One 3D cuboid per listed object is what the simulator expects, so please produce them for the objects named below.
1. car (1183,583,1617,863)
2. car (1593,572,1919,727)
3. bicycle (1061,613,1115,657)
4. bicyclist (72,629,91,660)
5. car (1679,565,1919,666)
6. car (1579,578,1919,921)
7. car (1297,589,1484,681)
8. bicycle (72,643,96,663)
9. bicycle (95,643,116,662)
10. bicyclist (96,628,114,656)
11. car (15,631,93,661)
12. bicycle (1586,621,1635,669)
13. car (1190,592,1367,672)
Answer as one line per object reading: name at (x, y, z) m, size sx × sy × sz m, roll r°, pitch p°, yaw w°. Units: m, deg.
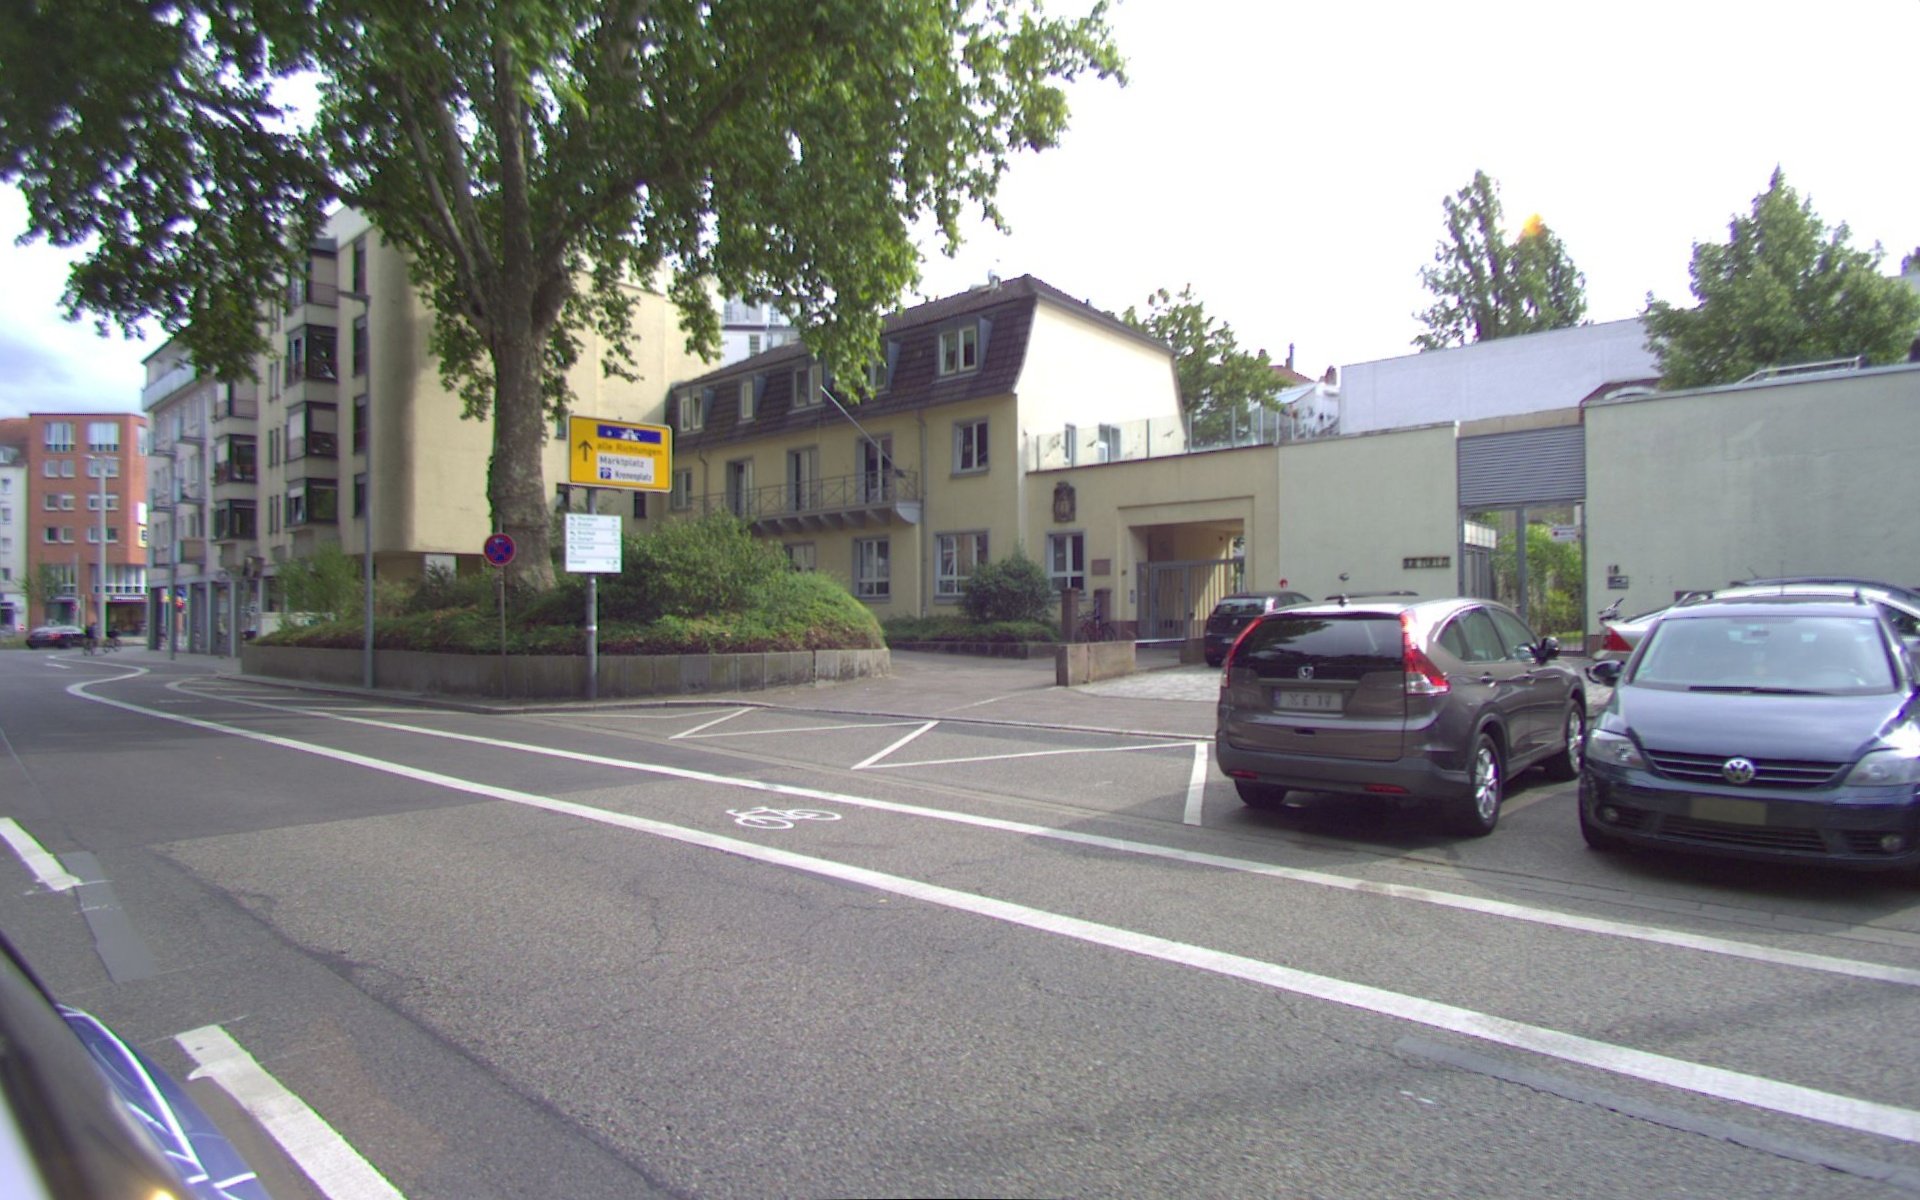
car at (3.765, 0.742, 8.206) m, size 1.967 × 1.618 × 4.212 m, roll -4°, pitch -1°, yaw 41°
car at (9.531, 0.489, 11.018) m, size 4.232 × 1.530 × 1.739 m, roll -2°, pitch 0°, yaw 41°
bicycle at (3.328, 0.896, 26.227) m, size 0.399 × 1.052 × 1.779 m, roll -4°, pitch -1°, yaw 42°
bicyclist at (-45.748, 2.315, 52.712) m, size 0.649 × 1.537 × 1.077 m, roll -2°, pitch -2°, yaw -45°
car at (12.979, 0.211, 14.763) m, size 3.991 × 1.342 × 1.796 m, roll -3°, pitch -1°, yaw 36°
car at (5.527, 0.699, 6.609) m, size 1.753 × 1.581 × 3.898 m, roll -2°, pitch 0°, yaw 43°
car at (8.145, 0.566, 18.996) m, size 1.919 × 1.477 × 3.942 m, roll 1°, pitch 2°, yaw 45°
bicycle at (-45.806, 2.768, 52.915) m, size 2.196 × 1.014 × 0.729 m, roll -4°, pitch -1°, yaw 44°
bicycle at (-47.762, 2.953, 56.556) m, size 1.976 × 1.014 × 0.729 m, roll -4°, pitch -1°, yaw 44°
bicyclist at (-47.557, 2.351, 56.292) m, size 0.649 × 1.537 × 0.857 m, roll -2°, pitch -2°, yaw -45°
car at (-53.707, 2.757, 60.070) m, size 1.785 × 1.419 × 4.622 m, roll -3°, pitch -5°, yaw -19°
bicycle at (11.130, 0.754, 17.297) m, size 0.489 × 0.748 × 1.964 m, roll -2°, pitch -1°, yaw 38°
car at (6.679, 0.599, 21.004) m, size 1.892 × 1.431 × 3.942 m, roll -1°, pitch 1°, yaw 45°
